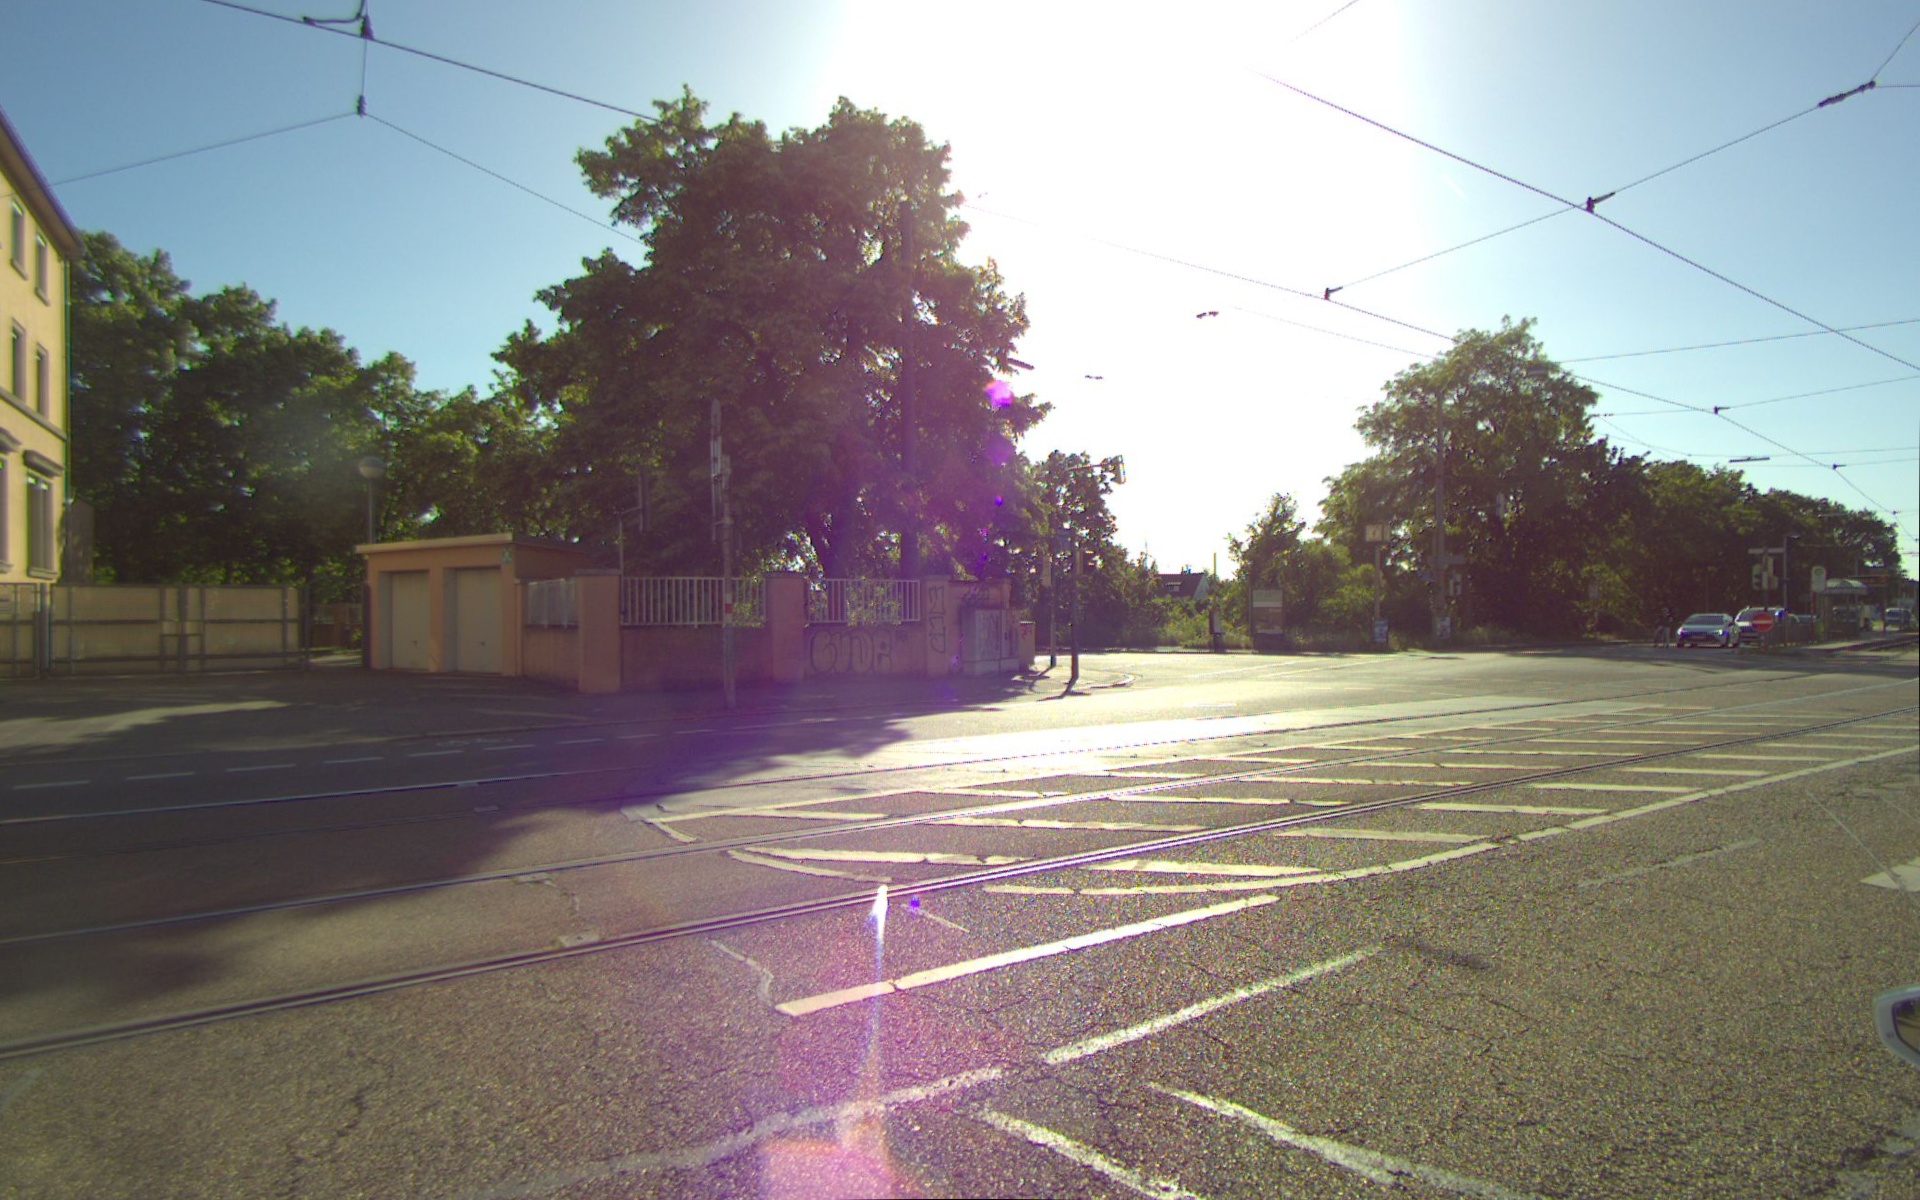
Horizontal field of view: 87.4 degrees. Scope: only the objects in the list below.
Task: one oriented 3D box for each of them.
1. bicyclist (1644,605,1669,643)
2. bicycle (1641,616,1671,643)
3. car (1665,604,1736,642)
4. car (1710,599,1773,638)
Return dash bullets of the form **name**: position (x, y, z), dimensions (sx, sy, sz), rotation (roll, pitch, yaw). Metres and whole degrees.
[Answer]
- **bicyclist**: position (28.734, 0.989, 41.448), dimensions (0.741, 1.524, 0.959), rotation (-1, -1, 42)
- **bicycle**: position (28.742, 1.197, 41.458), dimensions (0.741, 1.102, 2.165), rotation (-1, -1, 42)
- **car**: position (31.805, 0.975, 43.104), dimensions (1.973, 1.524, 3.976), rotation (-1, -1, 44)
- **car**: position (36.820, 0.861, 47.301), dimensions (1.973, 1.784, 3.976), rotation (-1, -1, 44)
